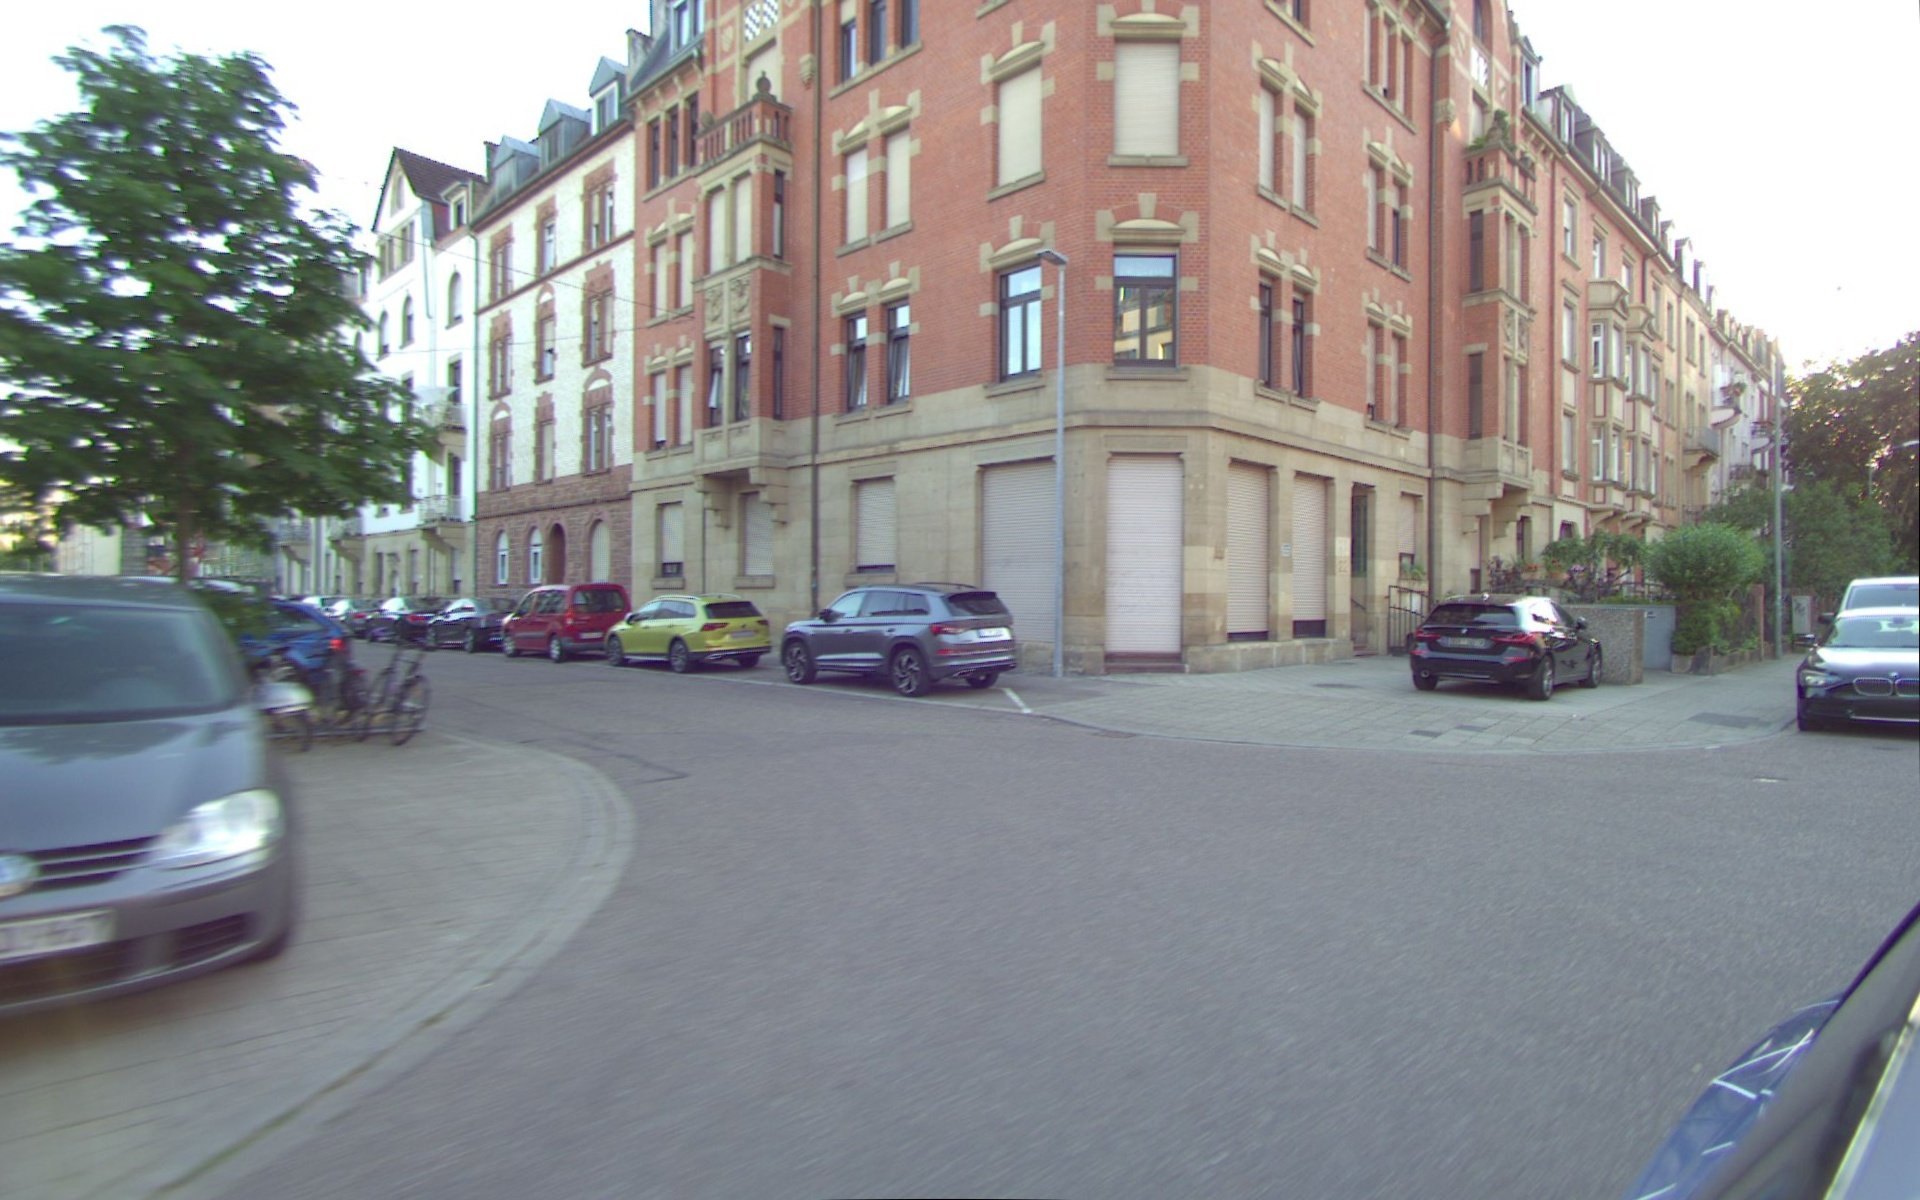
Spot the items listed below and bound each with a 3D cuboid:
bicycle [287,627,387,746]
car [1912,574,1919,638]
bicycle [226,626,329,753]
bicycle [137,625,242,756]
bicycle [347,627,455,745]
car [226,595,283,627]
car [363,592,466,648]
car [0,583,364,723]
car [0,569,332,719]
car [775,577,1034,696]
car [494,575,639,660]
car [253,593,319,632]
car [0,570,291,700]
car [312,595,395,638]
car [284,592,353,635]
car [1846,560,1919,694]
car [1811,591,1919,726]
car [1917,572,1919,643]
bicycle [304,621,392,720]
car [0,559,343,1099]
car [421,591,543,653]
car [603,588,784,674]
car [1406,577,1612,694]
[{"bbox_3d":[-6.350,0.831,10.273,0.440,1.076,1.818,3,-2,-44],"label":"bicycle"},{"bbox_3d":[32.560,0.183,33.148,1.993,2.039,3.938,0,0,43],"label":"car"},{"bbox_3d":[-6.554,0.808,9.686,0.470,1.076,1.818,3,-2,-44],"label":"bicycle"},{"bbox_3d":[-7.201,0.788,9.428,0.520,1.076,1.818,3,-2,-44],"label":"bicycle"},{"bbox_3d":[-5.783,0.839,10.425,0.474,1.076,1.818,3,-2,-44],"label":"bicycle"},{"bbox_3d":[-33.462,0.481,47.964,3.670,1.434,1.571,0,0,44],"label":"car"},{"bbox_3d":[-17.085,0.576,31.628,3.856,1.645,1.752,0,0,44],"label":"car"},{"bbox_3d":[-9.653,0.544,12.576,3.592,1.489,1.830,-1,0,-43],"label":"car"},{"bbox_3d":[-11.262,0.520,13.965,4.149,1.823,1.830,-1,0,-43],"label":"car"},{"bbox_3d":[-1.016,0.503,16.460,4.333,1.687,1.752,0,0,44],"label":"car"},{"bbox_3d":[-9.523,0.374,24.344,3.866,1.882,1.815,0,0,44],"label":"car"},{"bbox_3d":[-29.148,0.494,43.727,3.924,1.592,1.574,0,0,44],"label":"car"},{"bbox_3d":[-12.833,0.468,15.935,3.592,1.823,1.830,-1,0,-43],"label":"car"},{"bbox_3d":[-21.696,0.553,36.147,3.687,1.471,1.641,0,0,44],"label":"car"},{"bbox_3d":[-25.230,0.489,39.780,3.605,1.605,1.505,0,0,44],"label":"car"},{"bbox_3d":[15.299,0.363,15.899,1.934,1.928,3.992,0,0,43],"label":"car"},{"bbox_3d":[11.274,0.600,11.911,1.728,1.392,3.704,0,1,43],"label":"car"},{"bbox_3d":[29.557,0.207,29.777,1.993,2.039,3.938,0,0,43],"label":"car"},{"bbox_3d":[-7.339,0.804,12.104,0.474,1.076,1.818,3,-2,-44],"label":"bicycle"},{"bbox_3d":[-4.045,0.600,4.393,1.772,1.510,3.996,1,2,-40],"label":"car"},{"bbox_3d":[-13.279,0.558,28.008,3.987,1.581,1.776,0,0,44],"label":"car"},{"bbox_3d":[-5.517,0.551,20.711,3.987,1.585,1.801,0,0,44],"label":"car"},{"bbox_3d":[8.388,0.441,15.309,1.795,1.543,3.938,0,1,43],"label":"car"}]
